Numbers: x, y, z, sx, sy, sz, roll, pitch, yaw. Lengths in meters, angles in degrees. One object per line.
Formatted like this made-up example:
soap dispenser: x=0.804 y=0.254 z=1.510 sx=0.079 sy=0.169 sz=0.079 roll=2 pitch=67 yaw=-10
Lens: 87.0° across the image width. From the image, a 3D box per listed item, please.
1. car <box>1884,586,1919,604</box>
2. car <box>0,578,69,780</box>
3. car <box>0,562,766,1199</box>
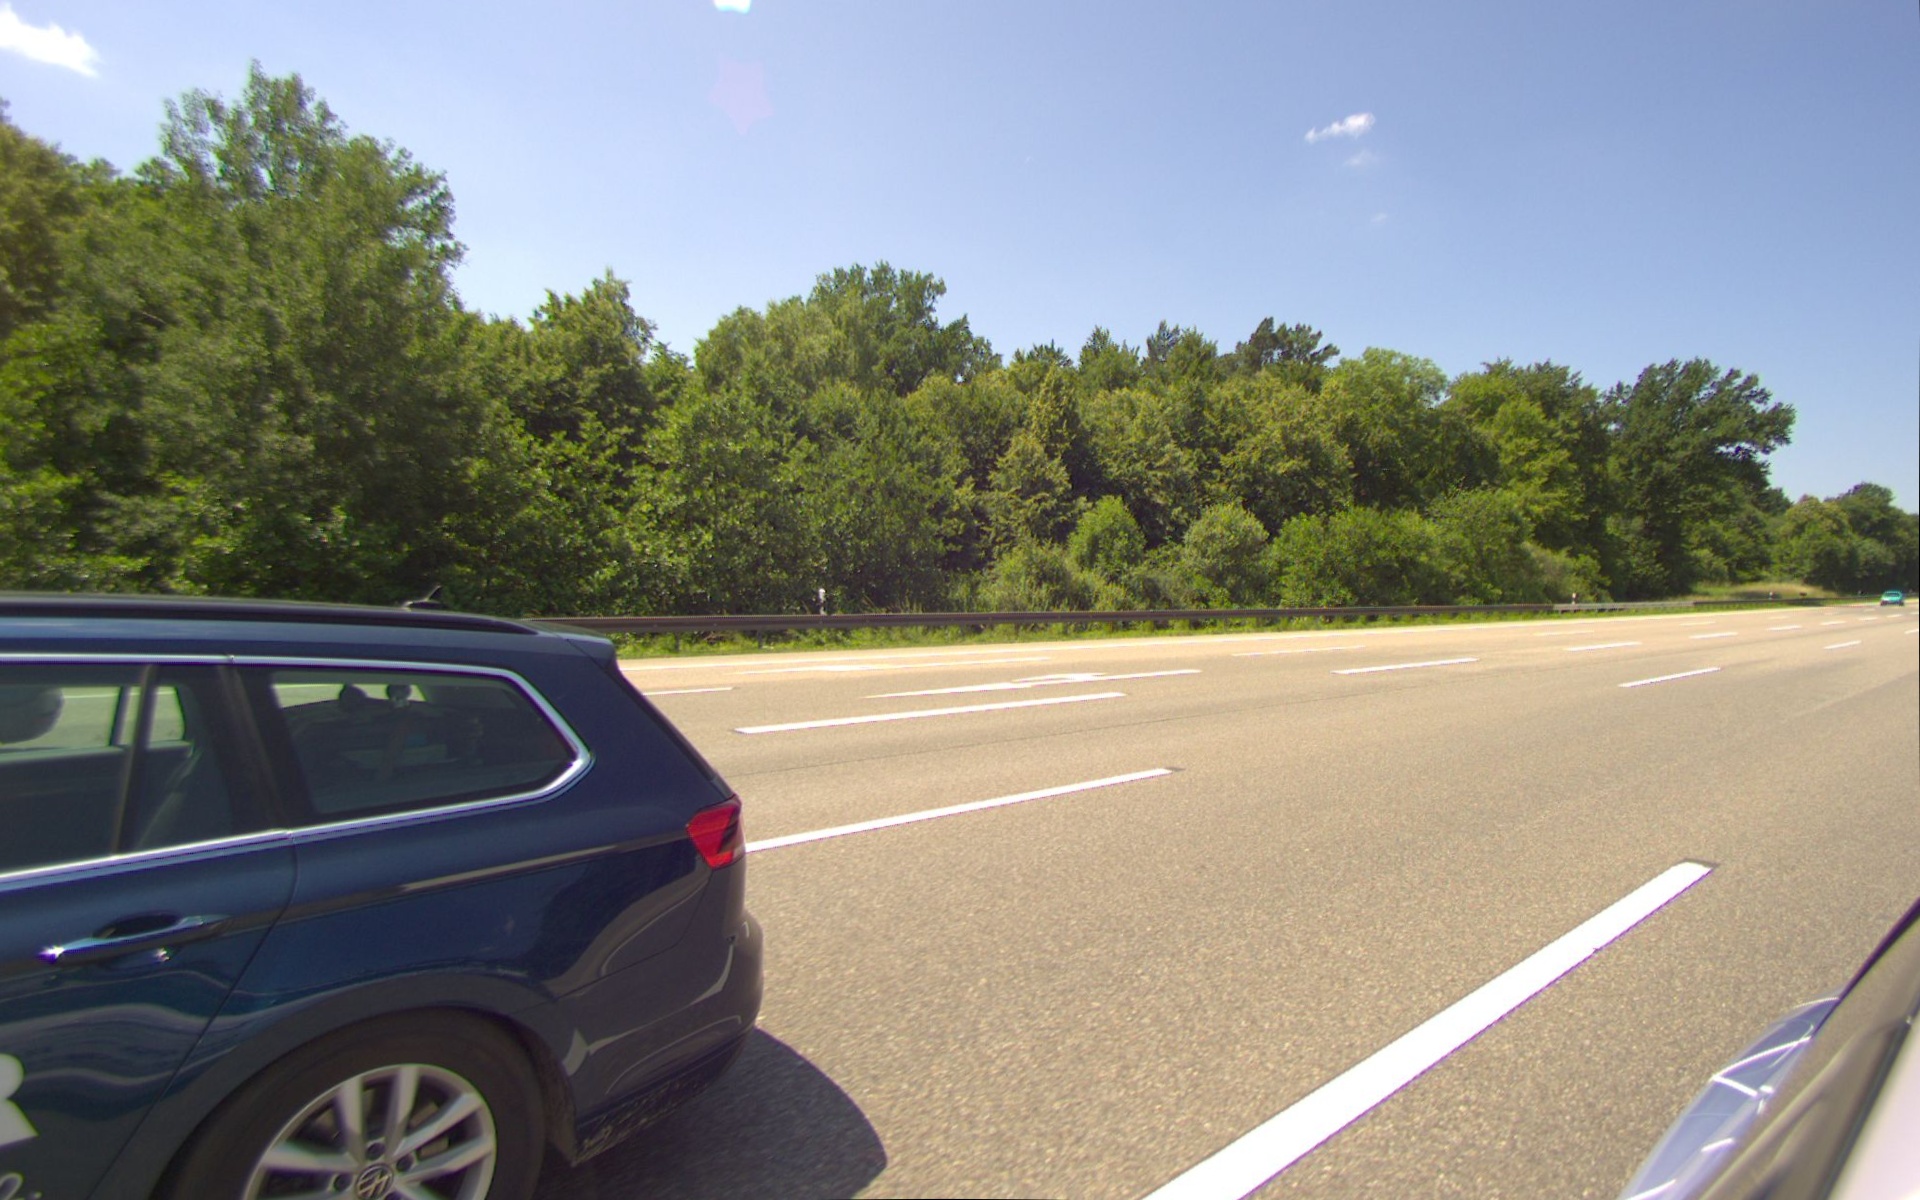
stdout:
car: x=94.521 y=-0.516 z=101.549 sx=4.053 sy=1.701 sz=1.999 roll=-1 pitch=3 yaw=-39
car: x=-8.893 y=0.549 z=6.622 sx=4.554 sy=1.457 sz=1.646 roll=1 pitch=0 yaw=-41
car: x=-2.862 y=0.658 z=1.418 sx=4.873 sy=1.465 sz=1.733 roll=0 pitch=2 yaw=-40
